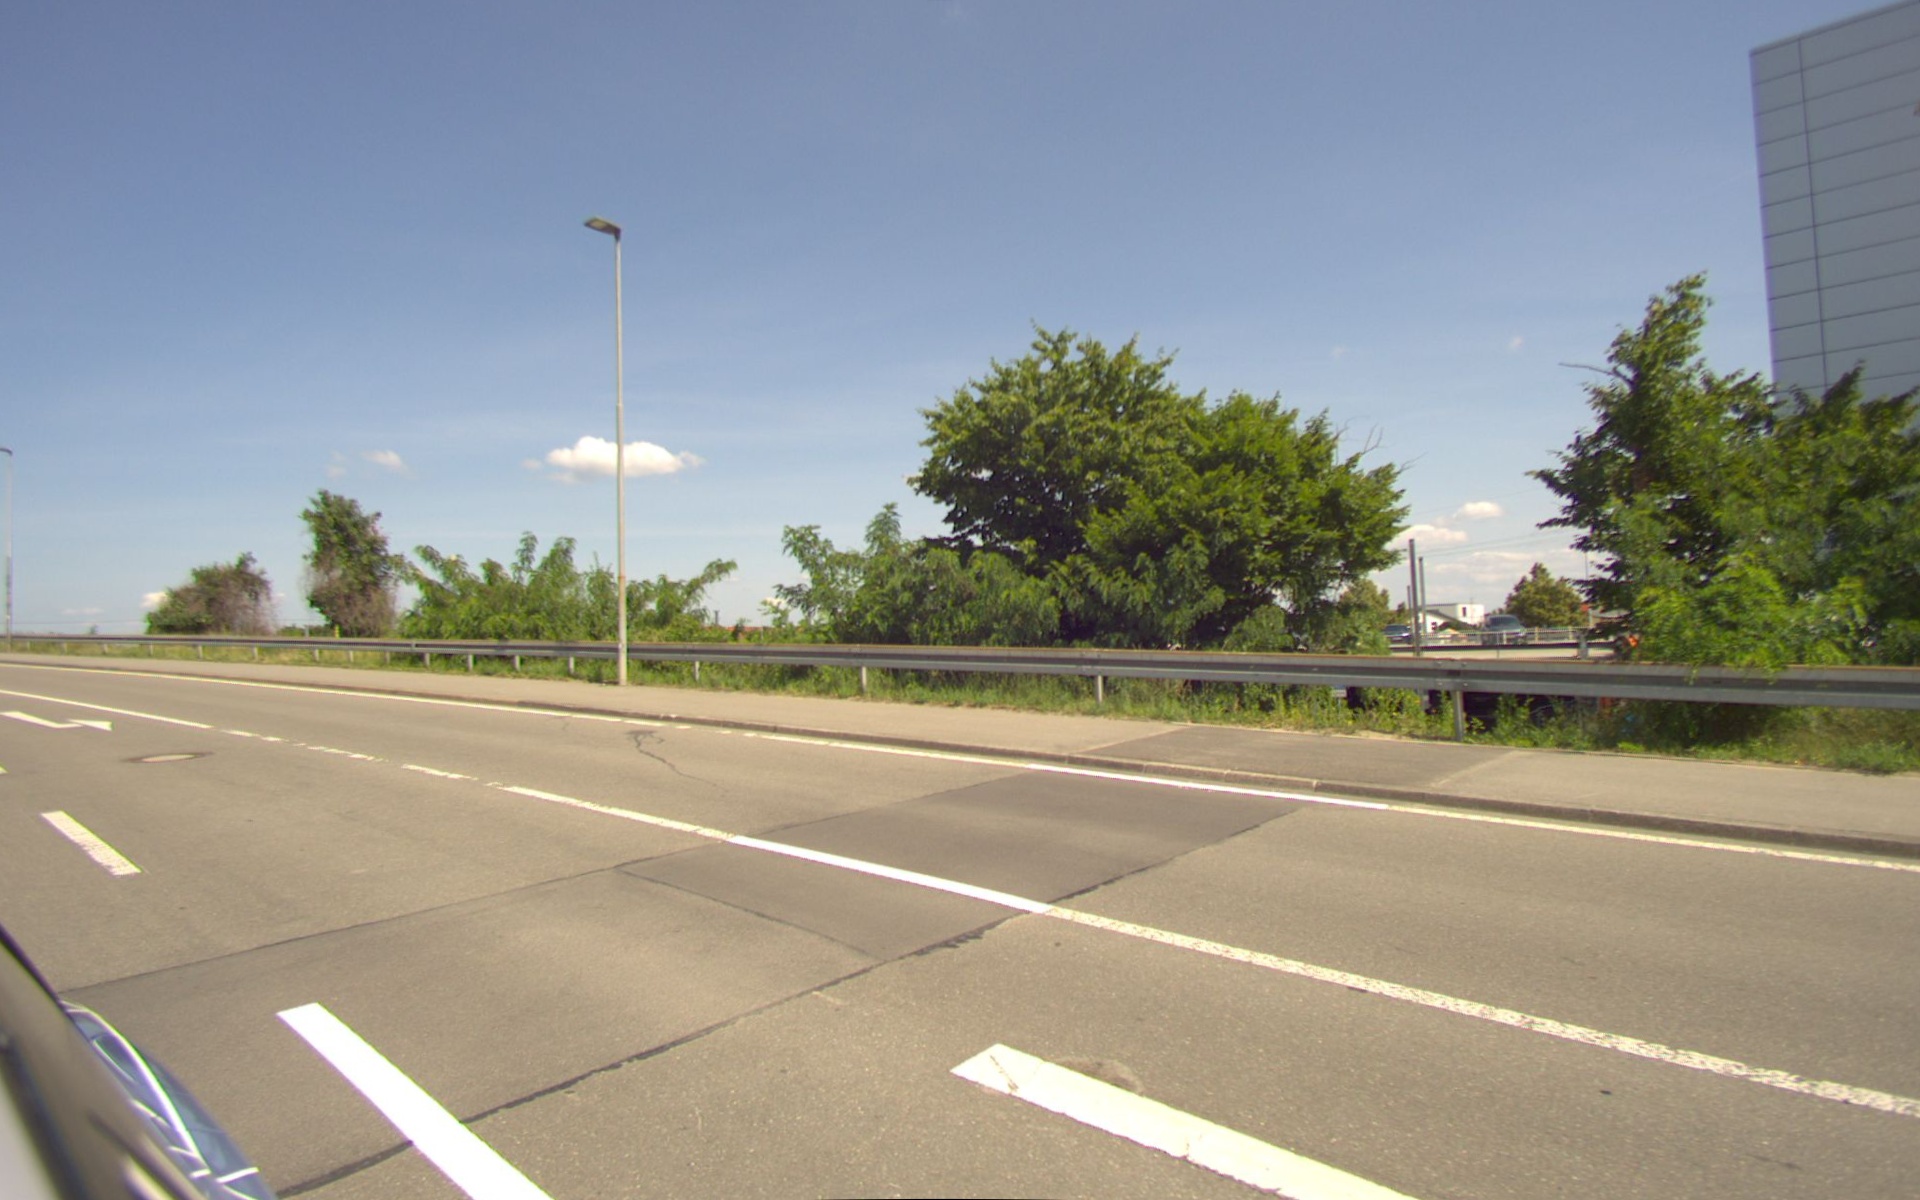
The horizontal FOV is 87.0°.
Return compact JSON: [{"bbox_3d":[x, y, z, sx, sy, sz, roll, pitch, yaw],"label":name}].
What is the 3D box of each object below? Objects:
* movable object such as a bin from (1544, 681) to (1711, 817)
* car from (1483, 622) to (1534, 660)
[{"bbox_3d":[11.879,2.592,18.248,1.989,2.027,3.104,-4,-3,26],"label":"movable object such as a bin"},{"bbox_3d":[29.821,2.222,54.974,1.946,1.874,3.953,-5,-3,34],"label":"car"}]
